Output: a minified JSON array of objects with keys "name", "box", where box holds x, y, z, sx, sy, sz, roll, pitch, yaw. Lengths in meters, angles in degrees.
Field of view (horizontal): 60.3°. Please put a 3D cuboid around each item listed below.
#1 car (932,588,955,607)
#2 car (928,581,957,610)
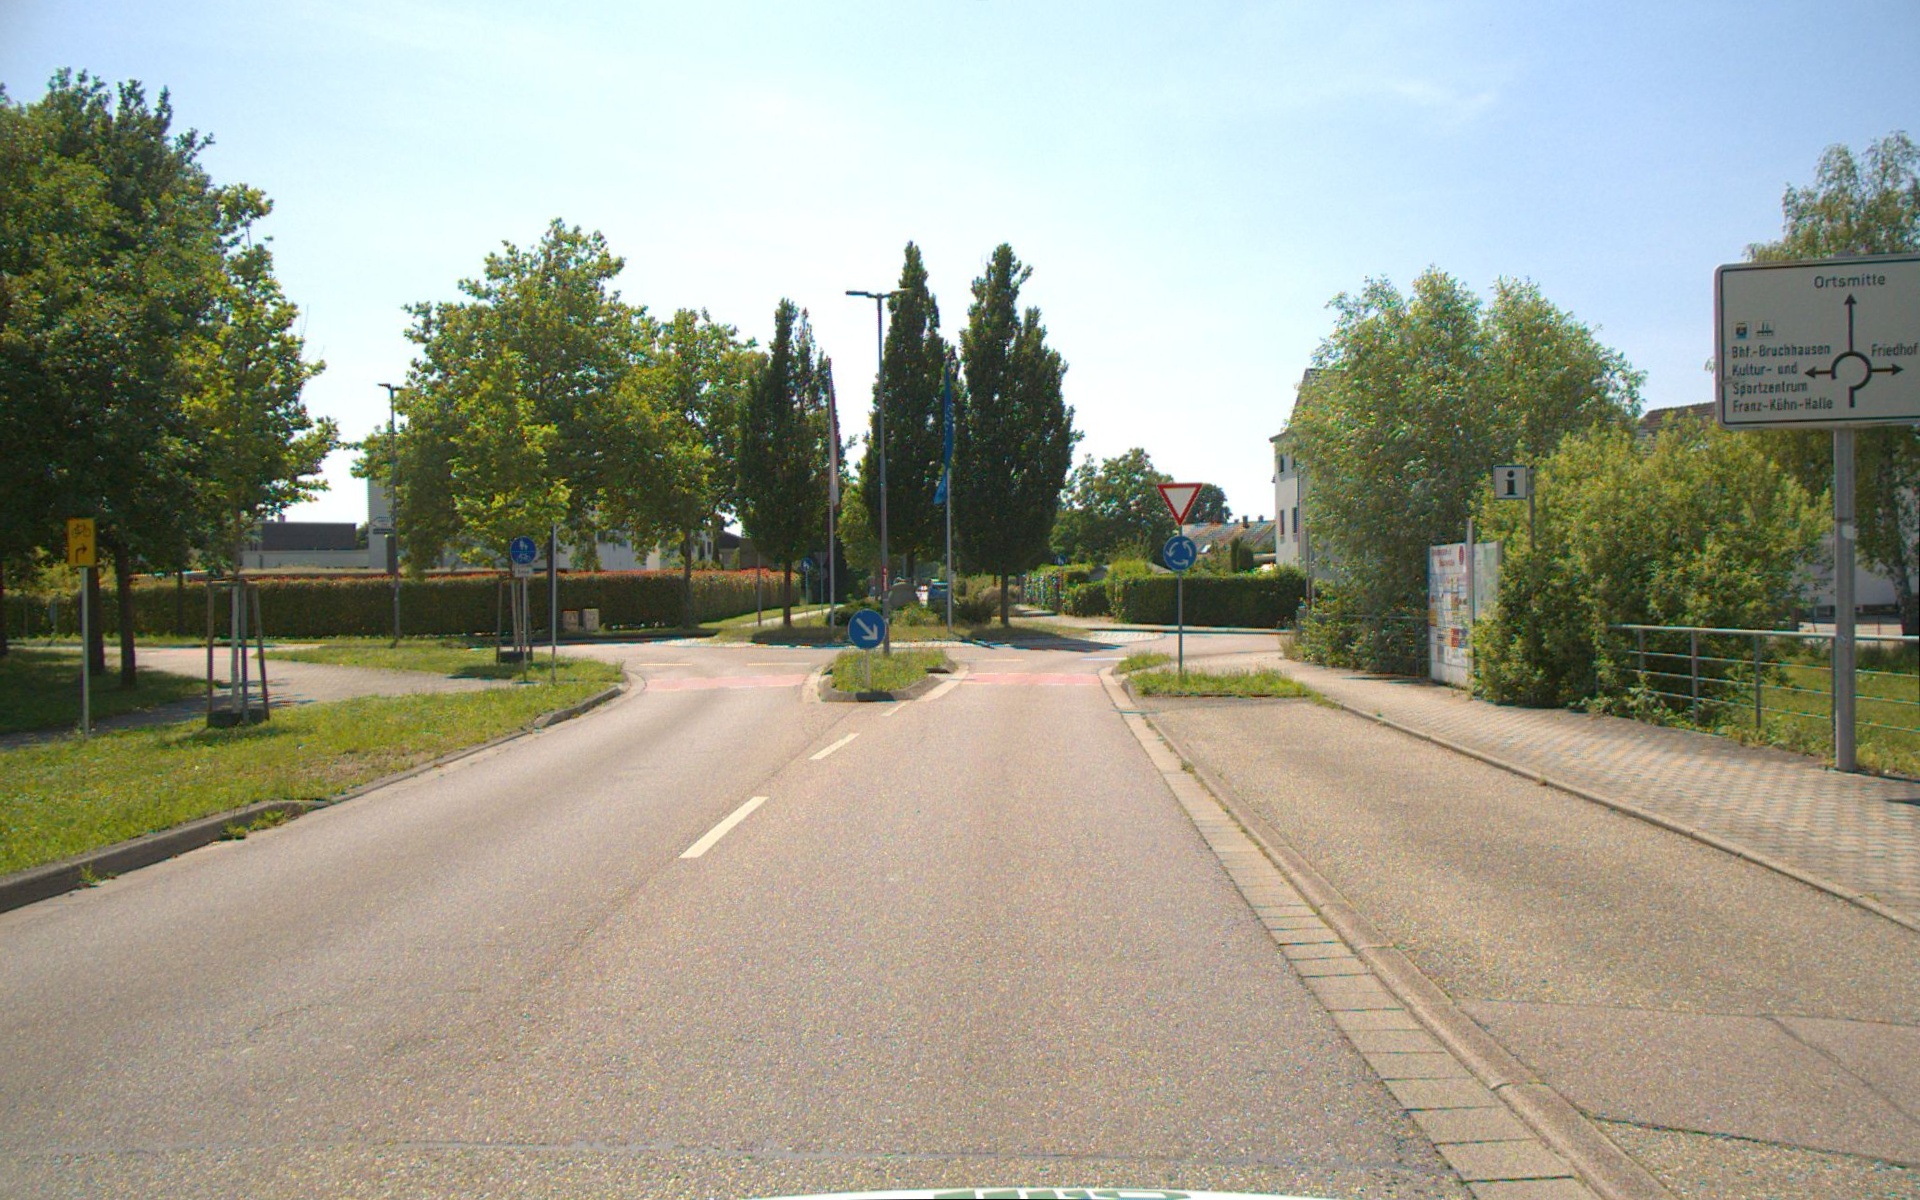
[{"name":"car","box":[-1.559,-0.254,157.944,1.952,1.801,4.001,1,0,3]},{"name":"car","box":[-1.228,-0.282,112.554,1.884,1.919,3.999,1,0,-1]}]
